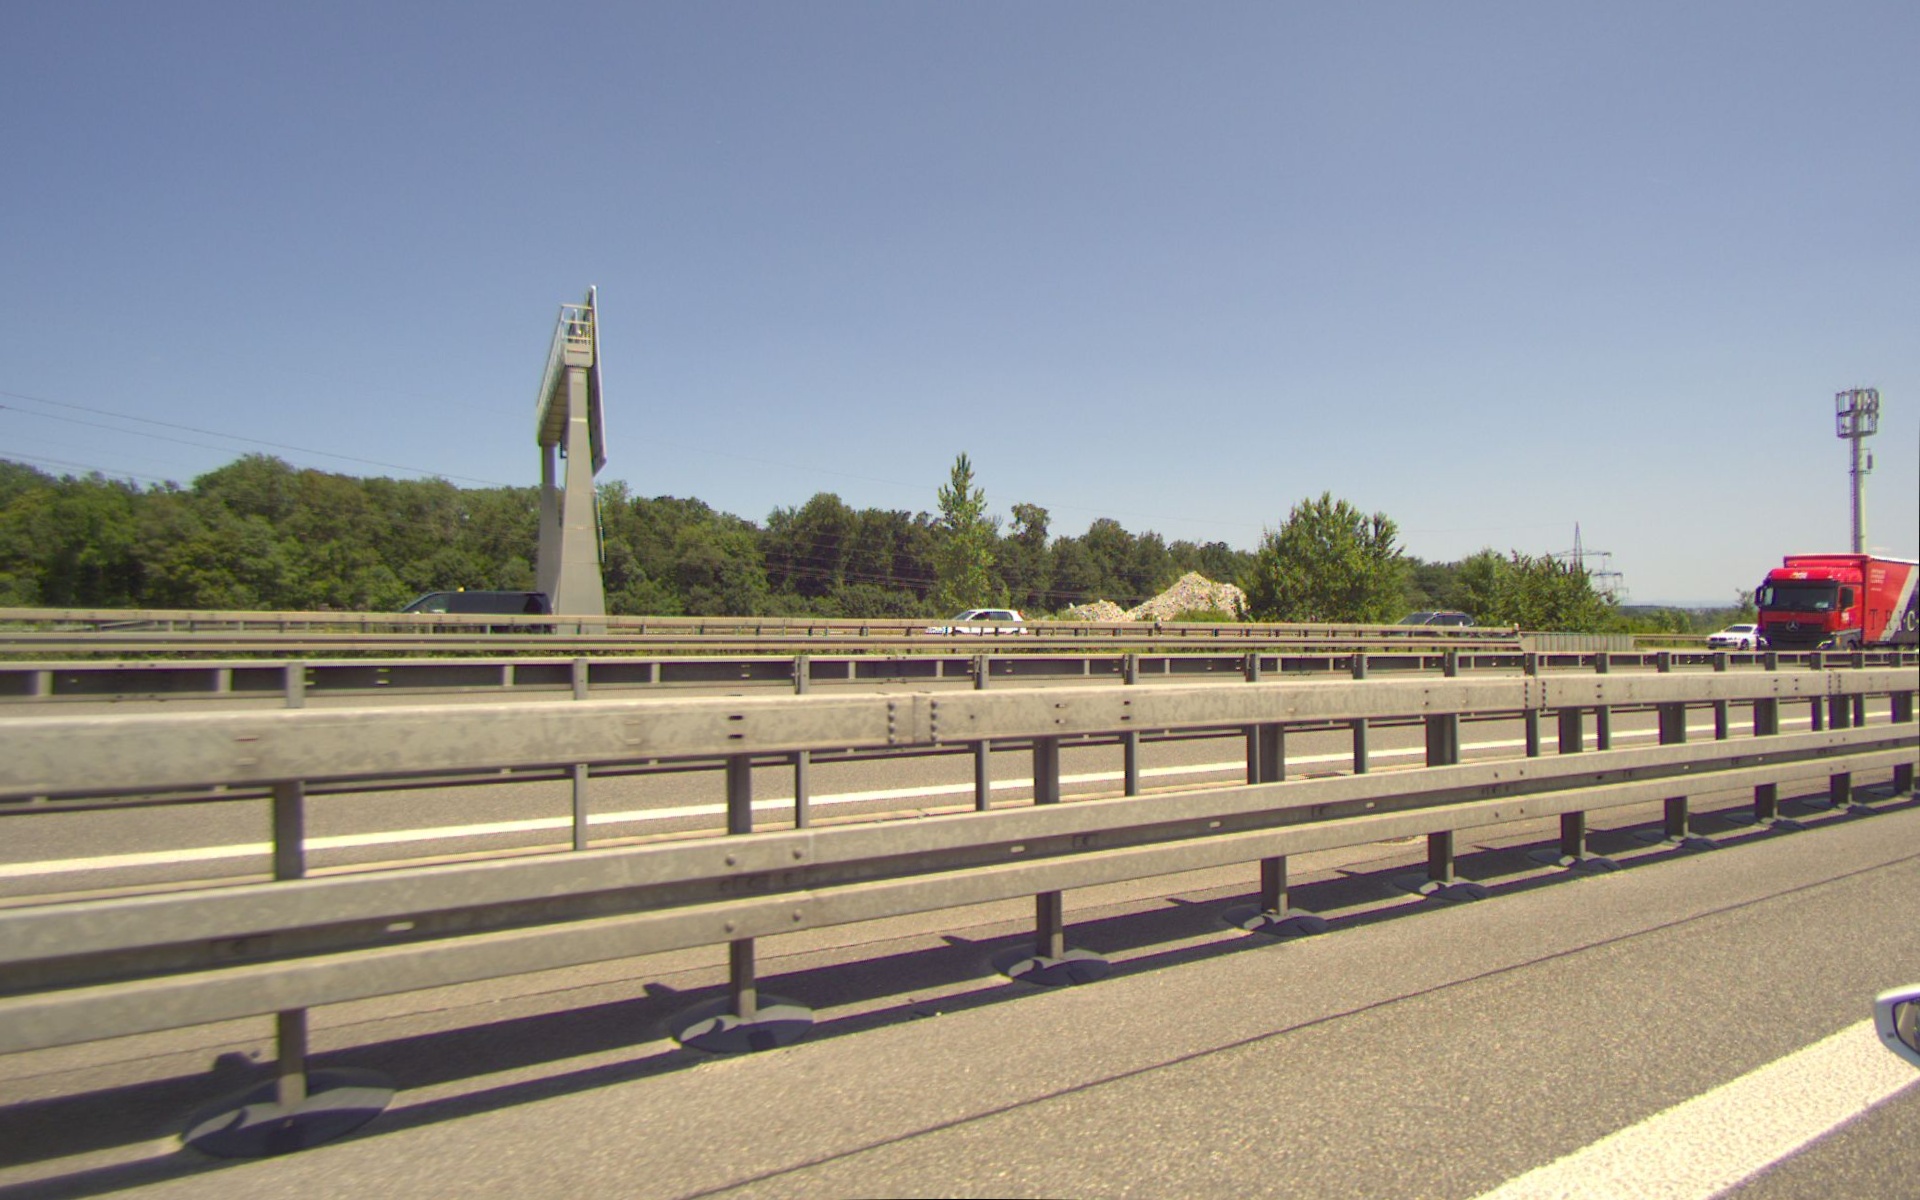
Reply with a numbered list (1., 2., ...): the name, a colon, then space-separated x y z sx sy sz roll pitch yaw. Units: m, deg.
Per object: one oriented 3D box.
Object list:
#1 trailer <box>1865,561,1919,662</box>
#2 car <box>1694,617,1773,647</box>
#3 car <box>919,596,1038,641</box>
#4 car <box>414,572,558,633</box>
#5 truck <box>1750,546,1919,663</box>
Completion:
1. trailer: 43.111 0.594 43.868 8.607 4.160 2.549 2 0 -29
2. car: 44.346 1.844 57.578 3.949 1.602 2.083 2 0 -28
3. car: 0.752 0.723 39.686 4.333 1.639 1.862 2 0 -28
4. car: -14.929 0.089 31.708 3.949 1.767 1.862 2 0 -28
5. truck: 34.885 0.271 39.244 10.224 4.170 2.570 2 0 -30
